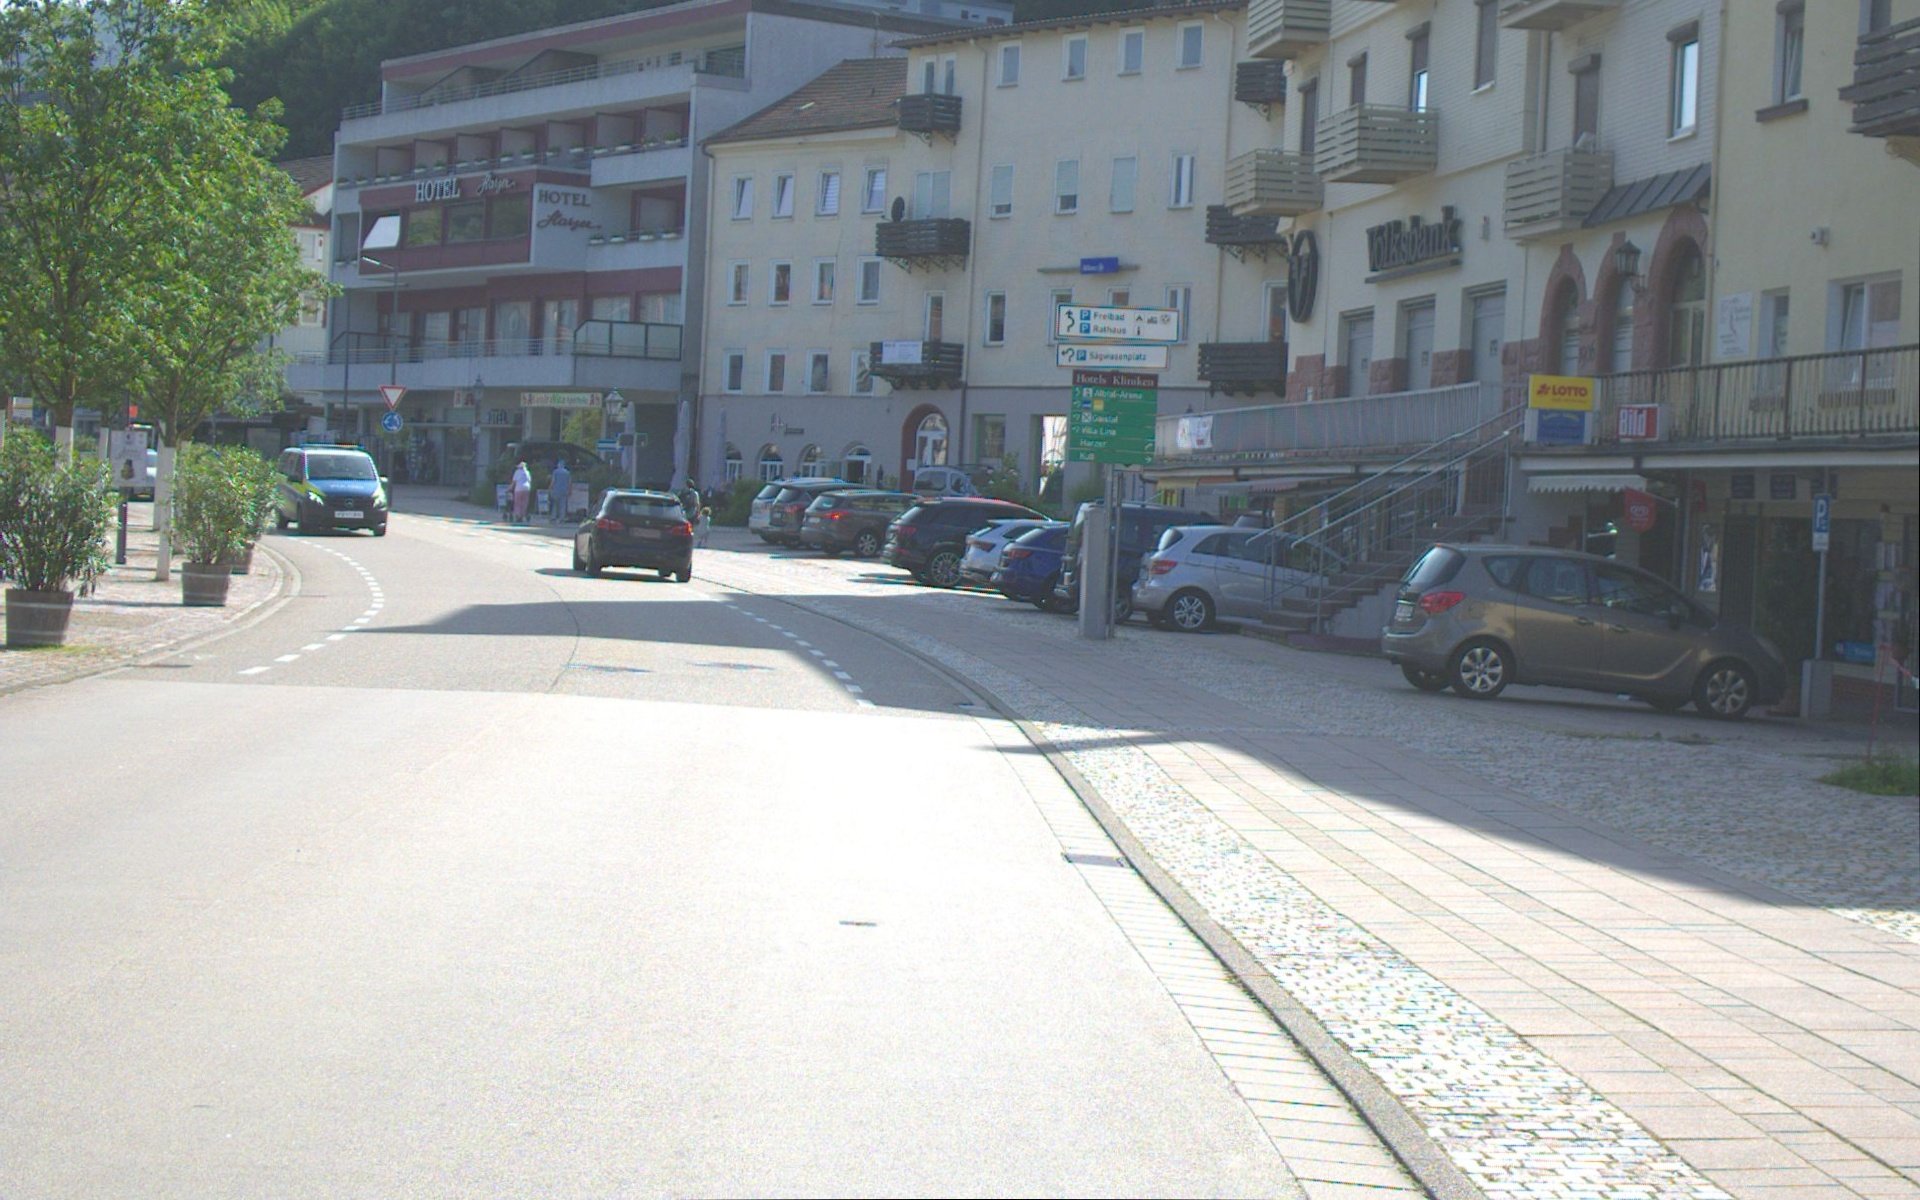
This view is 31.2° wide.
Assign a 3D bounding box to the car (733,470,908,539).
[{"bbox_3d":[-3.407,-2.337,83.996,3.860,1.607,1.773,-1,4,-27],"label":"car"}]

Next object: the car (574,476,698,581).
[{"bbox_3d":[-5.770,-1.289,60.907,1.727,1.569,3.754,4,3,-11],"label":"car"}]

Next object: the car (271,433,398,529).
[{"bbox_3d":[-14.064,-2.674,77.096,1.854,1.946,5.019,4,1,-20],"label":"car"}]

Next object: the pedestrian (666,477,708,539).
[{"bbox_3d":[-6.395,-2.158,80.617,0.735,1.437,0.633,0,3,-37],"label":"pedestrian"}]

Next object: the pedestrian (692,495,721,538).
[{"bbox_3d":[-5.966,-1.960,80.952,0.417,0.998,0.531,0,3,-39],"label":"pedestrian"}]

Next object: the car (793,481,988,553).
[{"bbox_3d":[-1.573,-1.879,77.661,4.009,1.511,1.773,-1,4,-27],"label":"car"}]

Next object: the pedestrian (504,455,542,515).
[{"bbox_3d":[-11.998,-3.161,94.445,0.757,1.588,0.628,3,2,-29],"label":"pedestrian"}]

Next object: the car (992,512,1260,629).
[{"bbox_3d":[2.619,-0.484,54.665,3.909,1.455,1.736,5,2,-6],"label":"car"}]

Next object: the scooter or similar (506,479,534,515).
[{"bbox_3d":[-12.106,-2.833,94.610,0.596,0.947,0.474,3,2,-29],"label":"scooter or similar"}]

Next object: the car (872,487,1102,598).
[{"bbox_3d":[0.503,-1.116,66.038,4.083,1.660,1.773,6,1,-6],"label":"car"}]

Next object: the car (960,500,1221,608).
[{"bbox_3d":[2.295,-0.832,61.184,4.356,1.456,1.773,6,1,-4],"label":"car"}]

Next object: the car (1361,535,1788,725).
[{"bbox_3d":[6.335,0.296,35.637,3.858,1.549,1.761,5,1,-9],"label":"car"}]

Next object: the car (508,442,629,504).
[{"bbox_3d":[-11.763,-3.819,103.331,3.162,1.657,1.595,3,2,-27],"label":"car"}]

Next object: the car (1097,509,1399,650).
[{"bbox_3d":[4.103,-0.307,49.321,3.909,1.583,1.775,5,2,-7],"label":"car"}]

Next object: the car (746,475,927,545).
[{"bbox_3d":[-2.909,-2.119,80.929,3.860,1.544,1.773,-1,4,-27],"label":"car"}]

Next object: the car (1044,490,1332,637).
[{"bbox_3d":[3.419,-0.560,52.044,3.909,1.798,1.858,6,1,-6],"label":"car"}]

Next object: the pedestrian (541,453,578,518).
[{"bbox_3d":[-10.987,-3.150,94.328,0.668,1.722,0.708,3,2,-29],"label":"pedestrian"}]

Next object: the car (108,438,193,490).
[{"bbox_3d":[-22.497,-3.790,95.427,1.627,1.366,4.065,1,2,-23],"label":"car"}]
